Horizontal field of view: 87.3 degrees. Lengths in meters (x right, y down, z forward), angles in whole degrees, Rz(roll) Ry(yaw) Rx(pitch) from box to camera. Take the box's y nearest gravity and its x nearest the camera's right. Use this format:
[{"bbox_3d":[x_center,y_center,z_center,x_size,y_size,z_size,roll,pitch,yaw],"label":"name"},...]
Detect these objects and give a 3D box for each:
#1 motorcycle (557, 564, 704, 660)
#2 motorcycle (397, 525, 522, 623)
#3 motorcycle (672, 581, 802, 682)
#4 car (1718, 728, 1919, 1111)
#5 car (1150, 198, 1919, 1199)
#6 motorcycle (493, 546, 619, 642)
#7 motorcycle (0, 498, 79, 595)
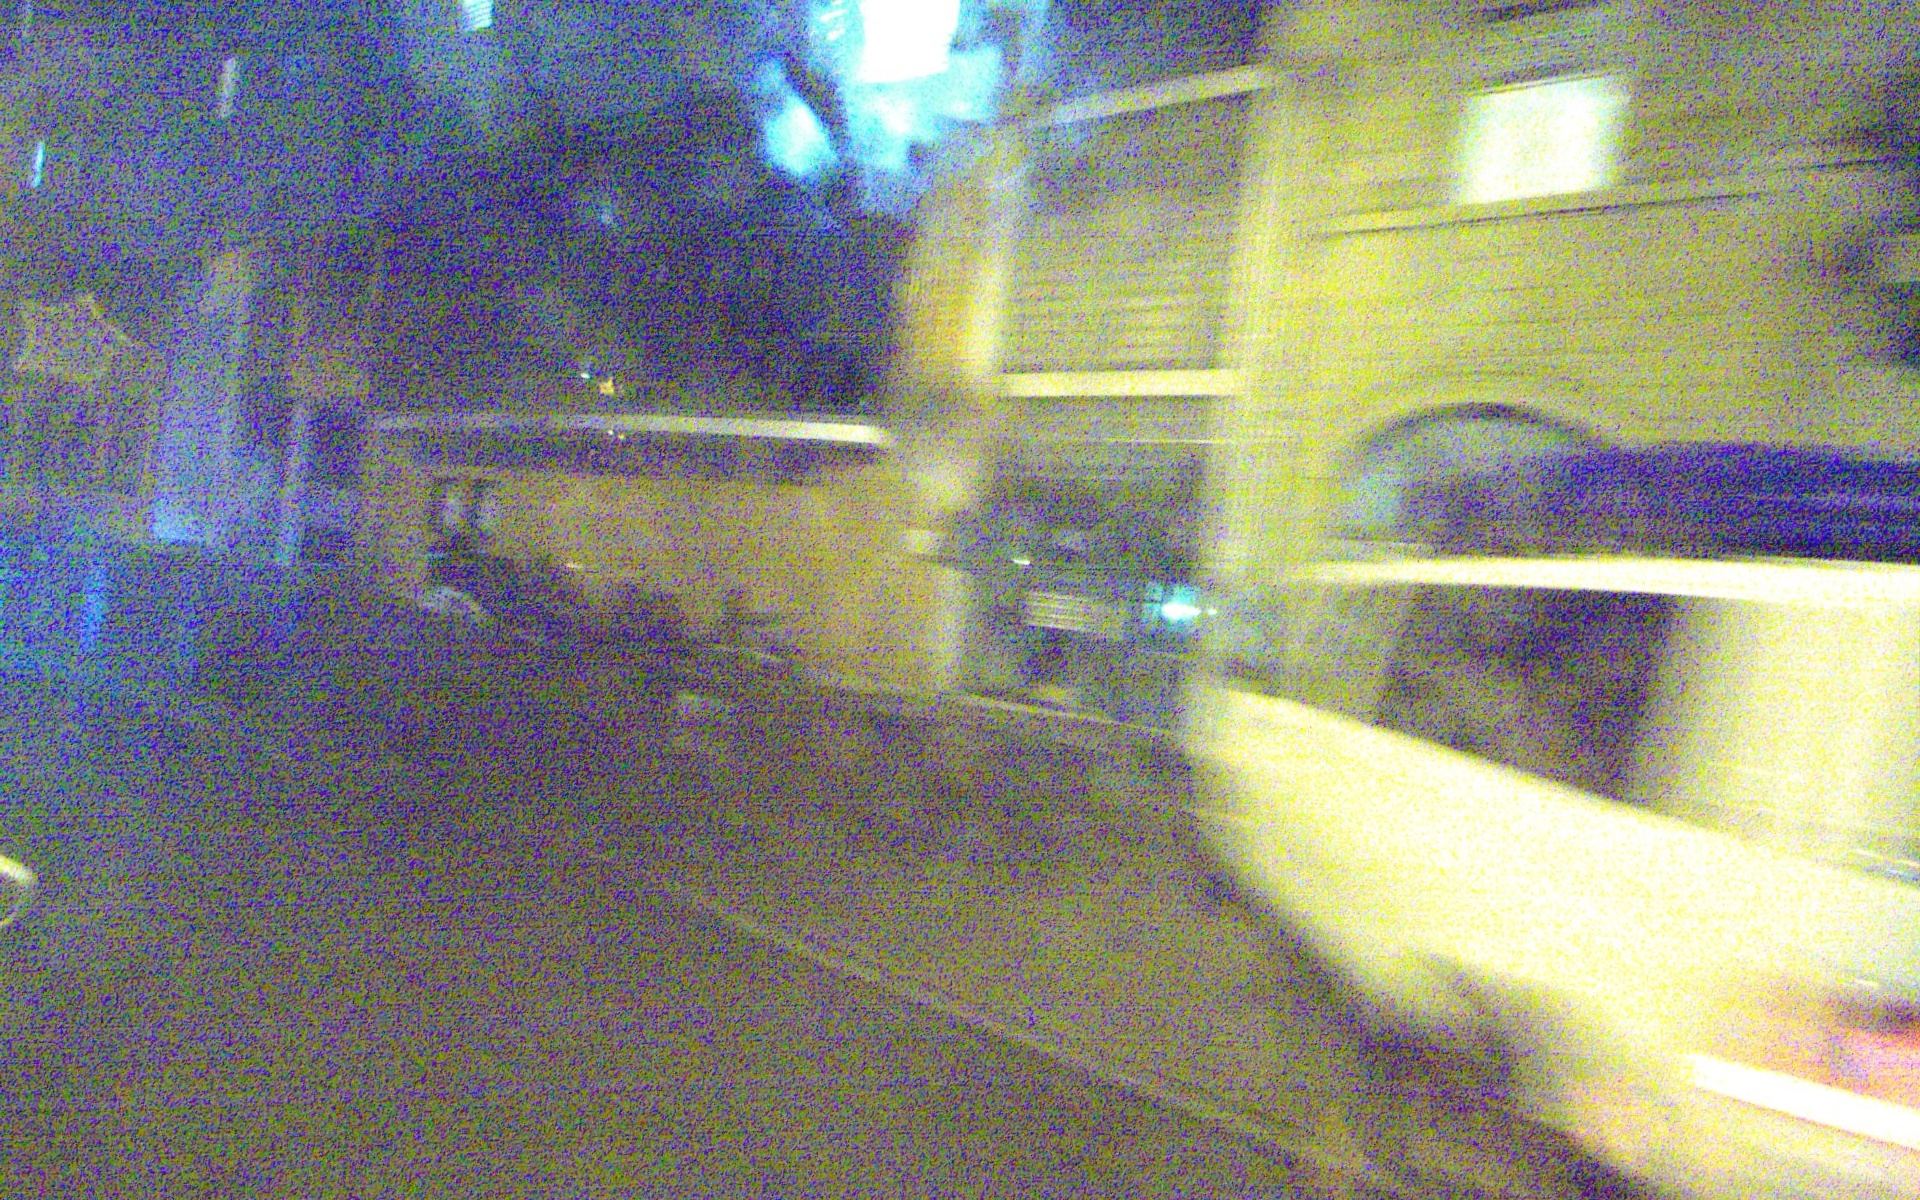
[{"bbox_3d":[-4.628,0.157,14.089,2.021,1.080,0.524,7,-1,25],"label":"motorcycle"},{"bbox_3d":[-8.216,-0.431,16.489,2.088,1.334,0.524,8,-1,26],"label":"motorcycle"},{"bbox_3d":[-2.906,0.401,13.075,1.597,1.080,0.524,7,-1,30],"label":"motorcycle"},{"bbox_3d":[4.787,1.438,3.642,1.599,1.485,3.458,6,-2,6],"label":"car"},{"bbox_3d":[2.558,0.654,4.221,2.191,2.369,4.941,7,-1,-1],"label":"car"},{"bbox_3d":[-6.241,-0.105,15.499,2.090,1.222,0.524,7,-1,32],"label":"motorcycle"},{"bbox_3d":[-12.123,-0.704,12.468,0.641,1.138,1.636,7,1,25],"label":"motorcycle"}]
